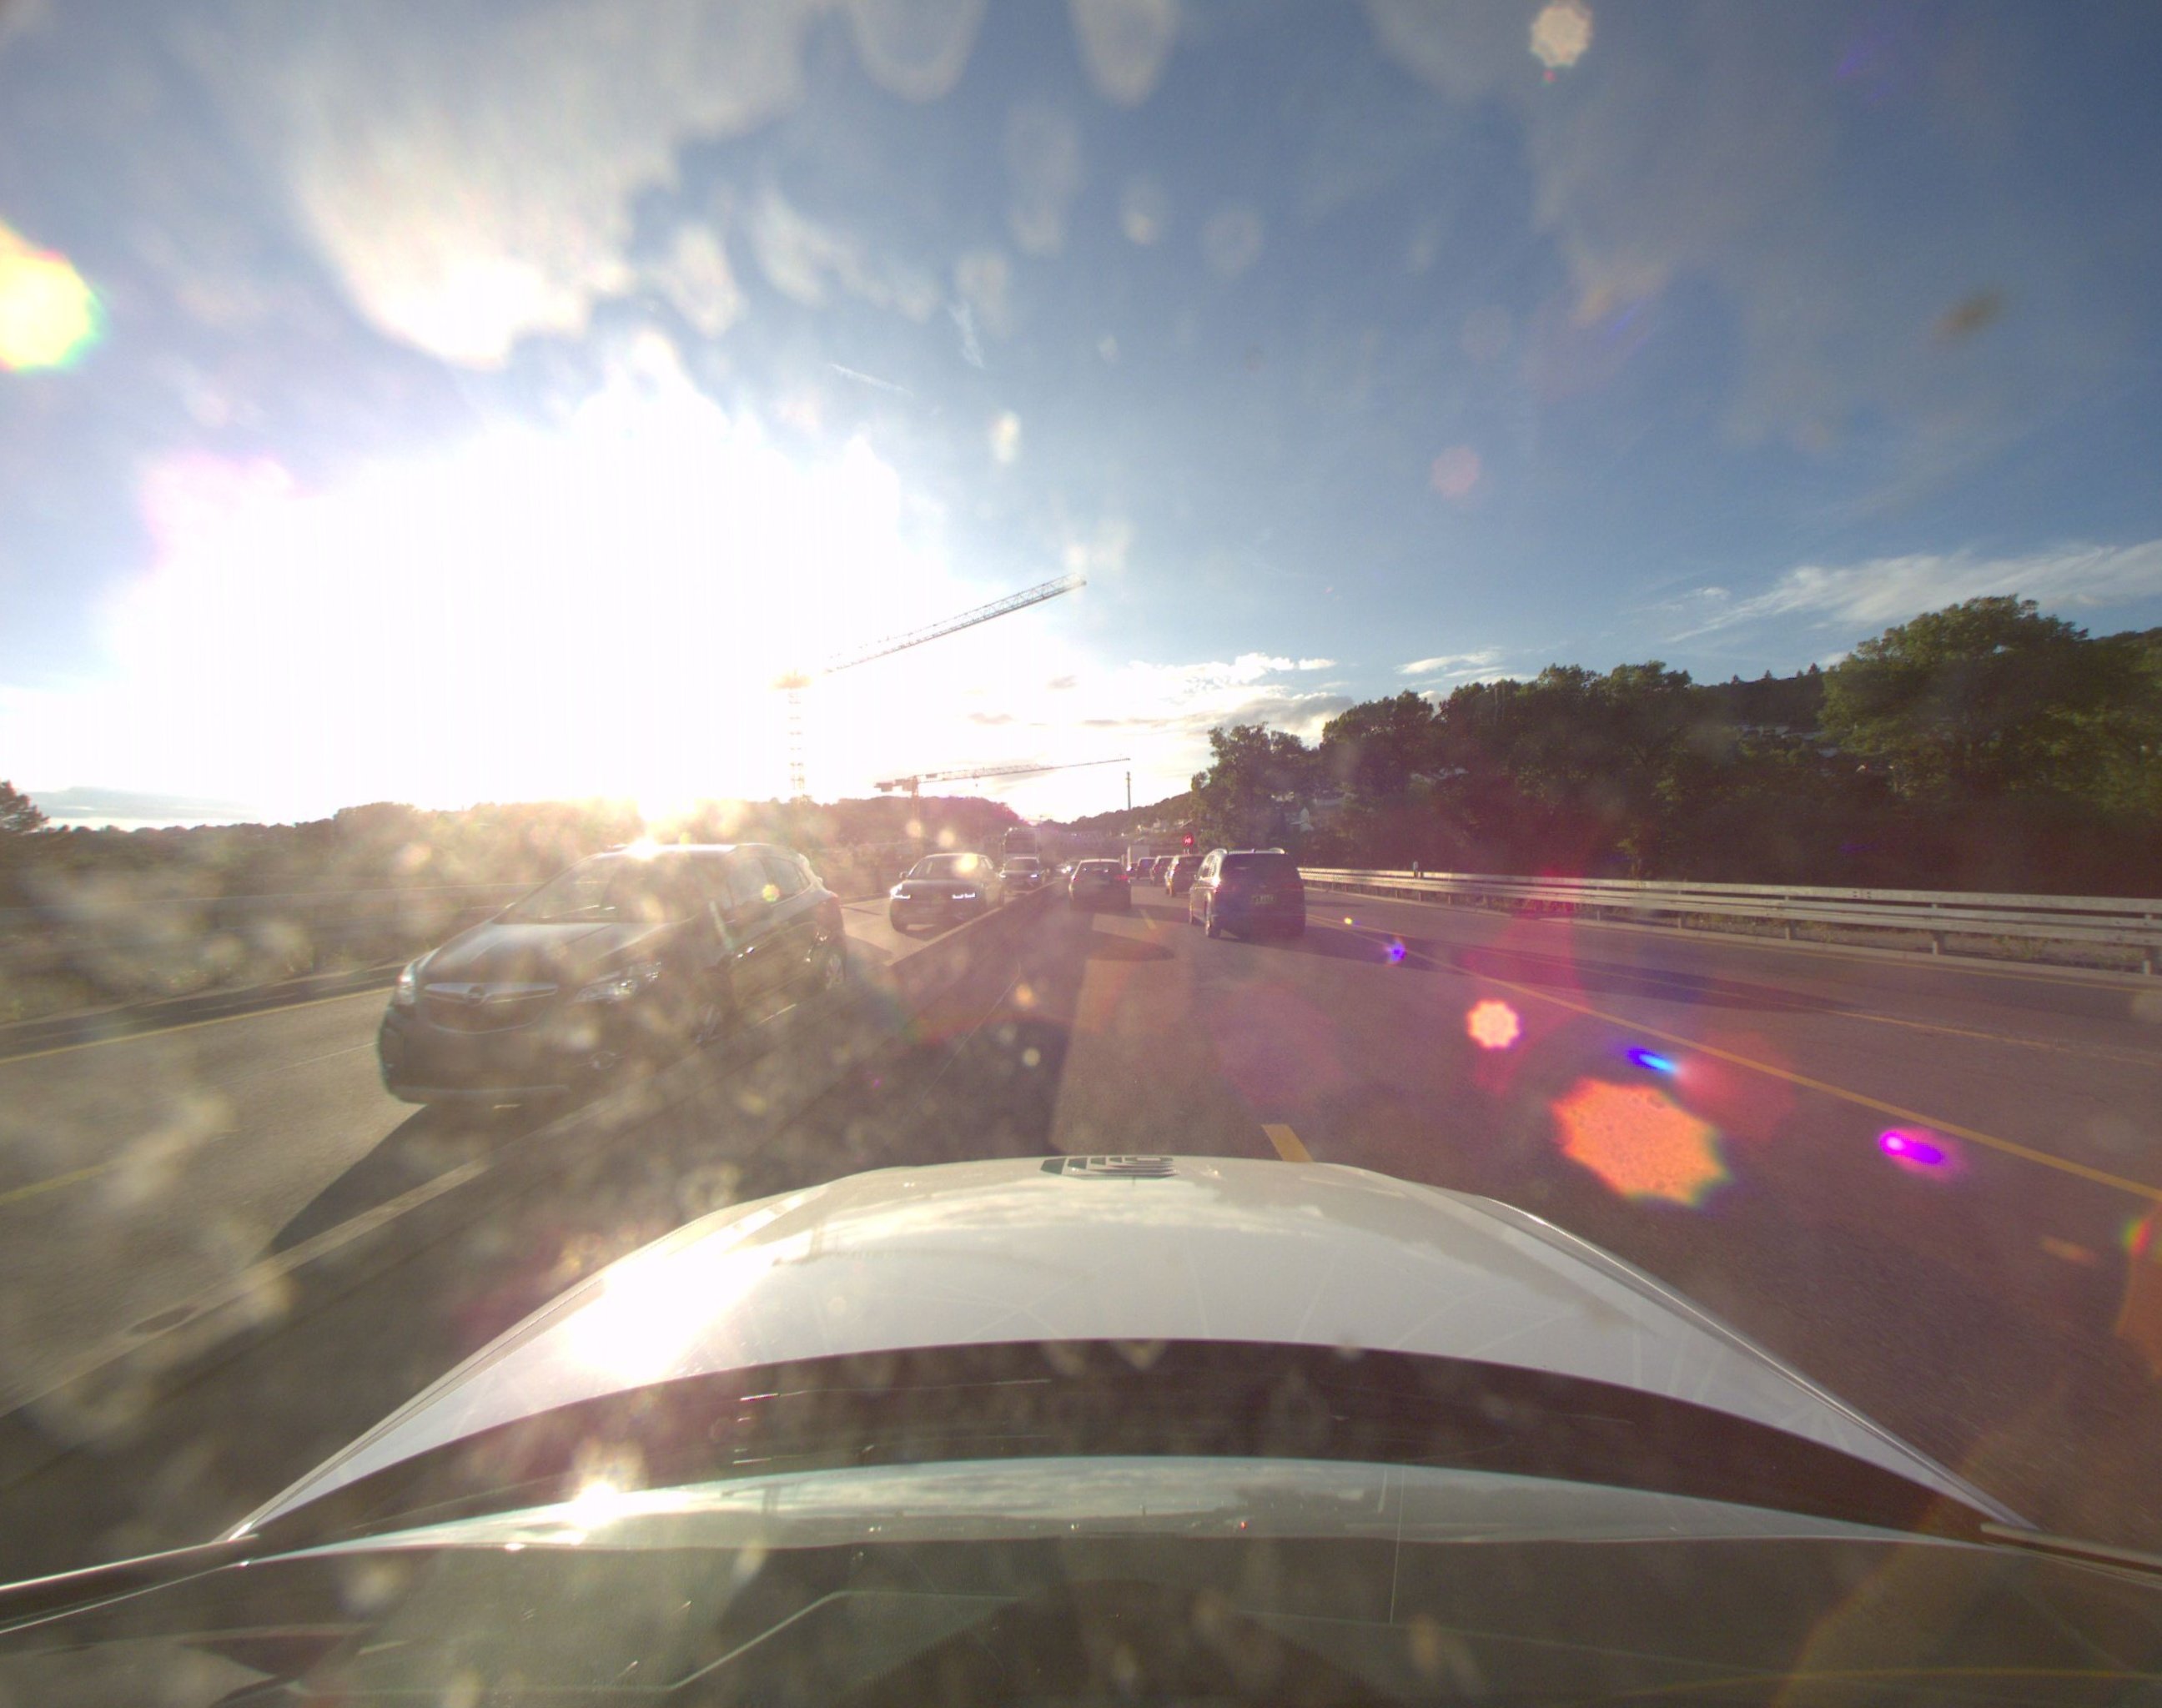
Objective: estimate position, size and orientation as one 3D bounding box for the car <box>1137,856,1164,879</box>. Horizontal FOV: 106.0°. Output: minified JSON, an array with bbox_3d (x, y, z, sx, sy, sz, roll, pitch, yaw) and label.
[{"bbox_3d":[5.222,1.035,61.756,1.808,1.632,4.412,0,-1,1],"label":"car"}]

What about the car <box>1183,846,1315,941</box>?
[{"bbox_3d":[3.206,0.677,16.434,1.806,1.615,4.527,1,0,1],"label":"car"}]

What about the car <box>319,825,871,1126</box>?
[{"bbox_3d":[-3.273,0.685,6.773,1.821,1.640,4.530,-1,0,1],"label":"car"}]

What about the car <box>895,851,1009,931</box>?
[{"bbox_3d":[-2.789,0.758,18.641,1.736,1.584,4.707,-1,0,1],"label":"car"}]

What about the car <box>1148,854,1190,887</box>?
[{"bbox_3d":[4.571,0.888,43.011,1.868,1.599,4.967,-1,-2,2],"label":"car"}]

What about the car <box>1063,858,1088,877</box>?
[{"bbox_3d":[-0.467,1.174,73.378,1.986,1.619,4.608,-1,-1,2],"label":"car"}]

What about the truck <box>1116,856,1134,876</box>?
[{"bbox_3d":[10.370,2.747,191.956,3.874,4.498,13.858,0,0,3],"label":"truck"}]

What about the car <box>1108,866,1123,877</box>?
[{"bbox_3d":[4.349,2.218,104.118,1.856,1.420,4.001,0,-1,2],"label":"car"}]

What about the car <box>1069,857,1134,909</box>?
[{"bbox_3d":[0.561,0.833,24.057,1.764,1.390,3.999,0,-1,0],"label":"car"}]

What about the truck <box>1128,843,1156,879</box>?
[{"bbox_3d":[8.072,0.815,109.665,3.372,4.498,15.277,0,1,2],"label":"truck"}]

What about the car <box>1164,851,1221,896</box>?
[{"bbox_3d":[4.152,0.726,30.955,1.767,1.586,4.137,0,-1,2],"label":"car"}]

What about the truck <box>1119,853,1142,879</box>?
[{"bbox_3d":[8.990,2.065,149.240,3.875,4.498,15.273,0,0,2],"label":"truck"}]

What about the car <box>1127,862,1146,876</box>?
[{"bbox_3d":[5.980,1.623,87.761,1.764,1.553,3.999,1,-1,0],"label":"car"}]

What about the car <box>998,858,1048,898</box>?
[{"bbox_3d":[-2.348,0.973,33.841,1.761,1.535,3.999,0,-1,0],"label":"car"}]

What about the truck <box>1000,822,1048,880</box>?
[{"bbox_3d":[-4.171,-0.202,60.473,2.803,4.049,5.676,-1,-1,3],"label":"truck"}]

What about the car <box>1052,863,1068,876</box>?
[{"bbox_3d":[-2.450,1.830,95.753,1.694,1.446,4.002,-1,-1,2],"label":"car"}]

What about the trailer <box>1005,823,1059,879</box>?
[{"bbox_3d":[-3.817,-0.113,67.247,2.803,4.051,14.030,-1,-1,3],"label":"trailer"}]
